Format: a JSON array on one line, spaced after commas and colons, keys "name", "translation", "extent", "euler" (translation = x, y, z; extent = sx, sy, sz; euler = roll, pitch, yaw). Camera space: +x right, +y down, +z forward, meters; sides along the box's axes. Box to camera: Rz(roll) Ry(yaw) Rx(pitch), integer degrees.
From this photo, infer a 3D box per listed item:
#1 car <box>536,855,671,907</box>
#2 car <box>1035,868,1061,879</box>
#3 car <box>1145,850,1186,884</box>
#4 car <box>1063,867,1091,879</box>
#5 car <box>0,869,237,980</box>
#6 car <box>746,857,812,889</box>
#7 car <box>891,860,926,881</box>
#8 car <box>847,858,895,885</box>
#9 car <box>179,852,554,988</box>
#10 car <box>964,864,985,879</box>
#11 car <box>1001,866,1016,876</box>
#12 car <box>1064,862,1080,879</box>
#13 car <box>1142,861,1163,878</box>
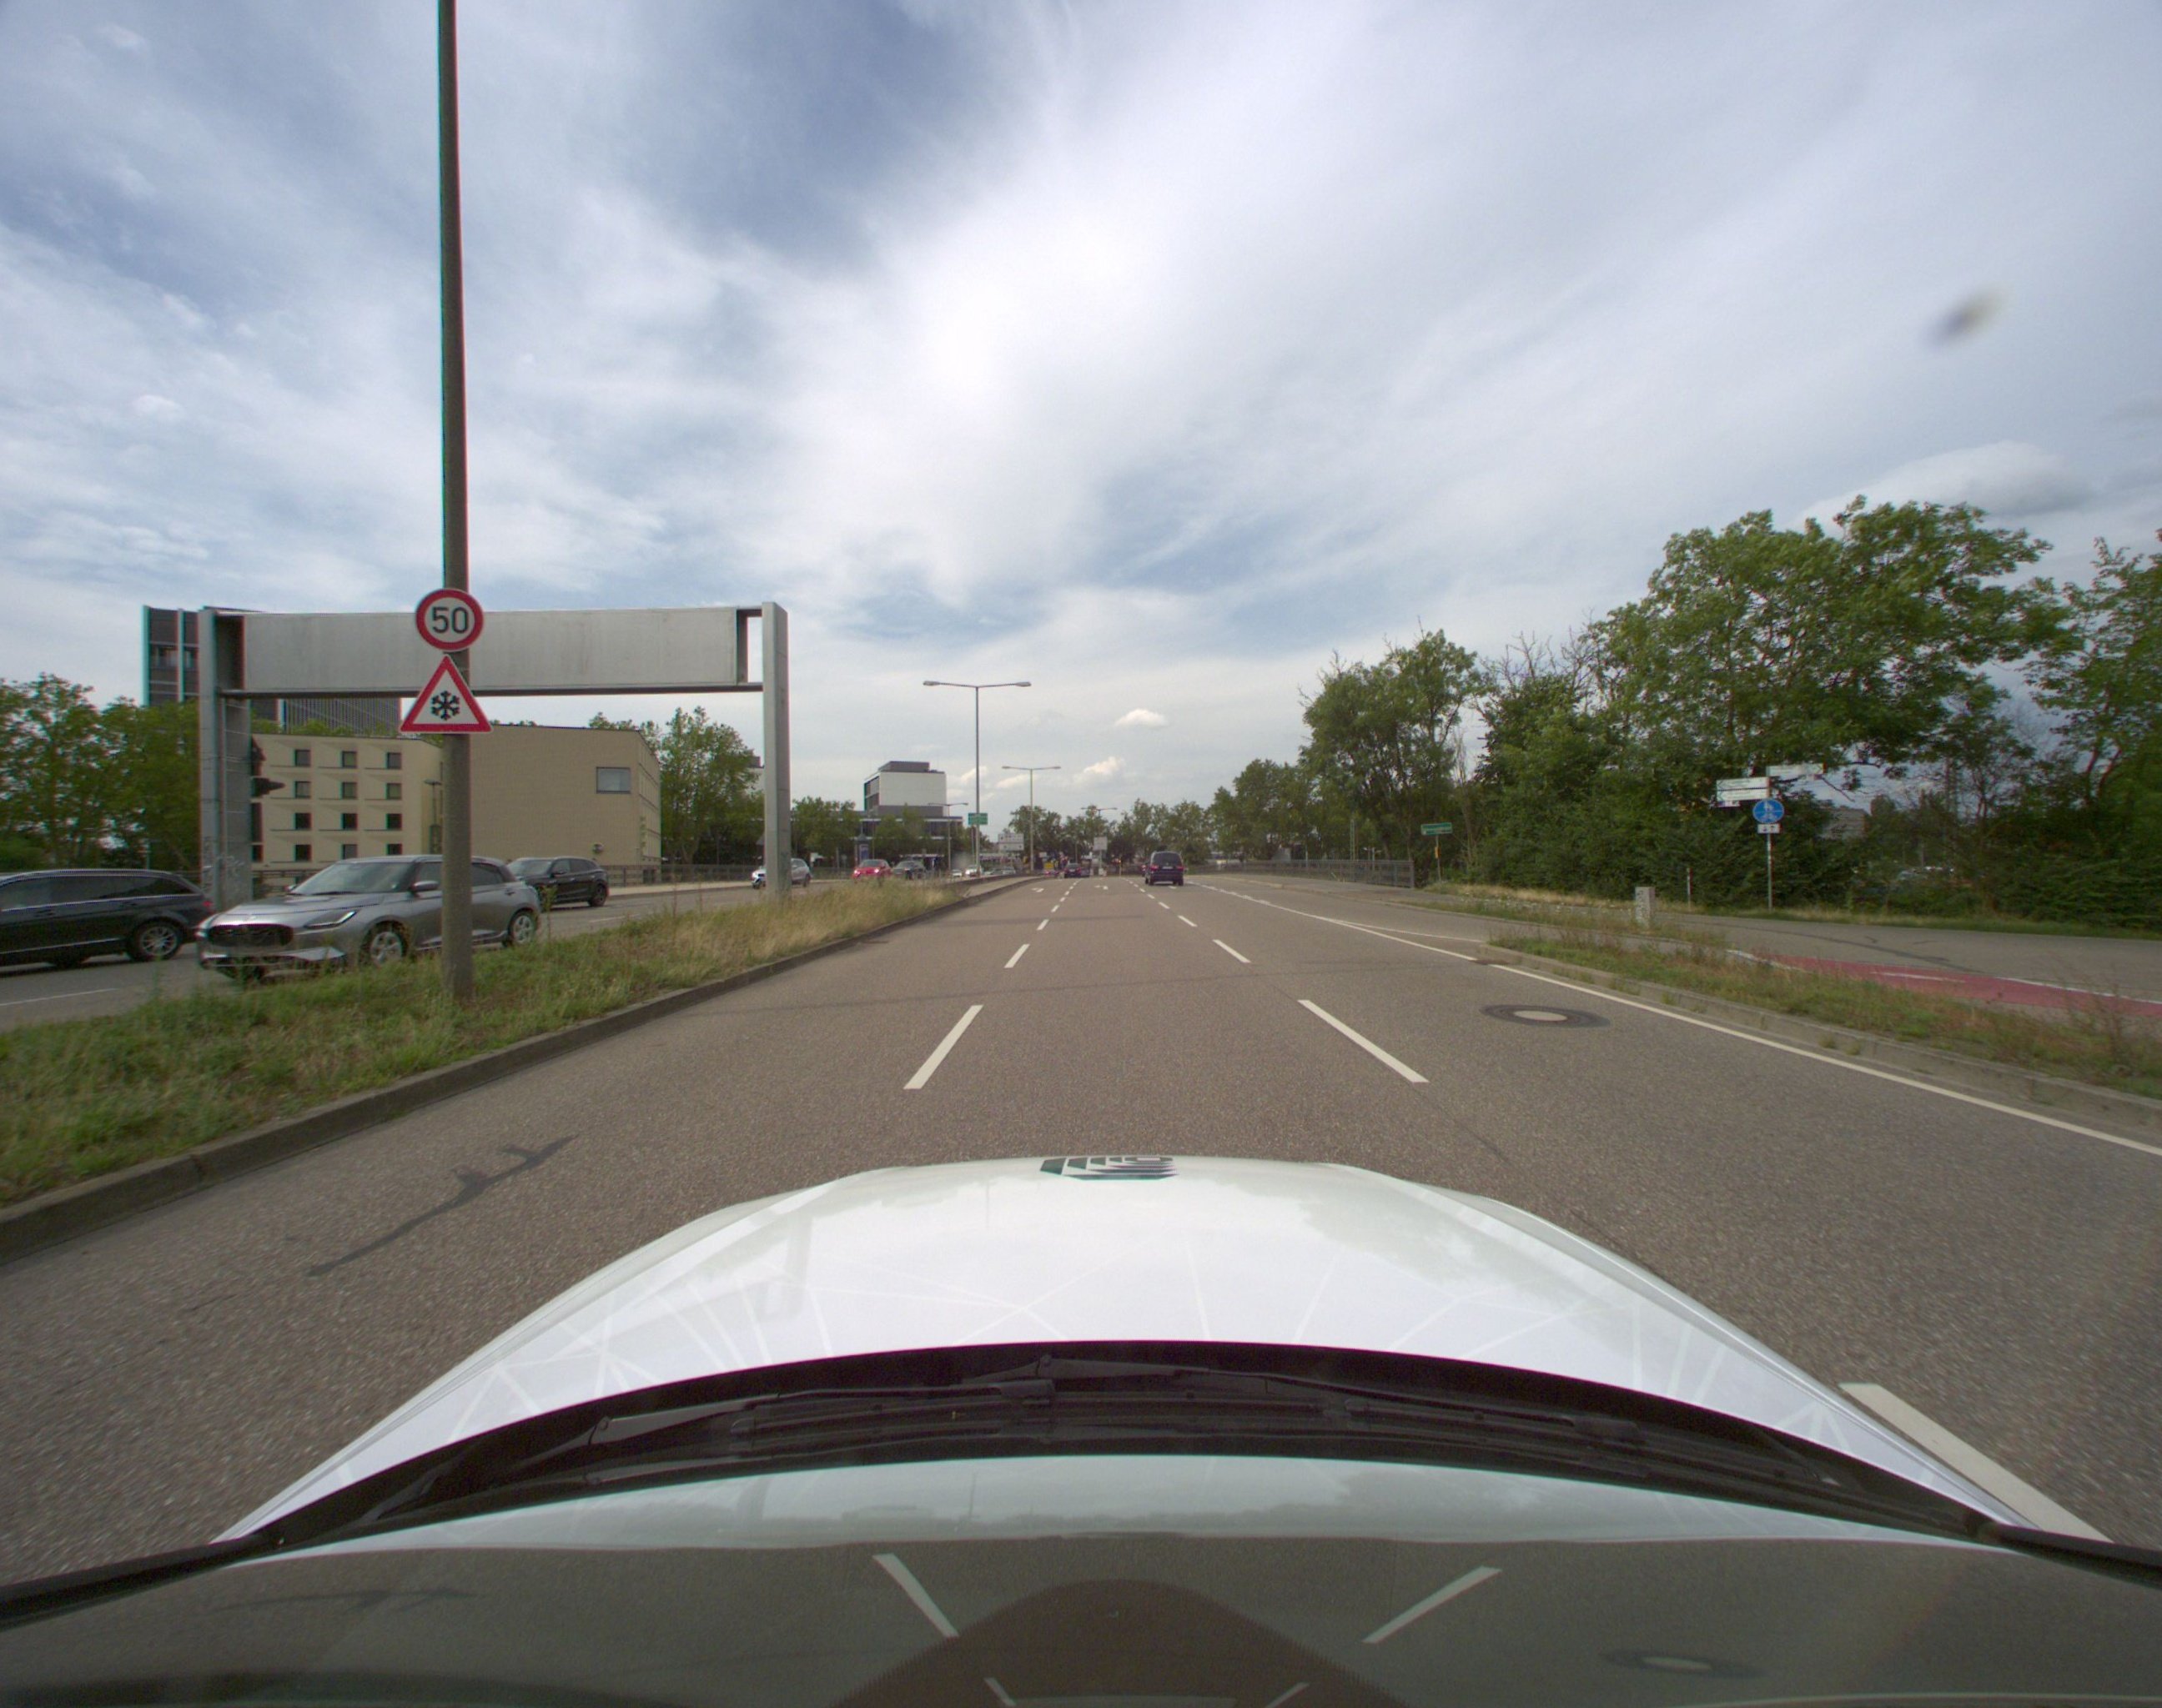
[{"name": "car", "translation": [-16.035, 0.853, 27.659], "extent": [1.787, 1.525, 4.594], "euler": [-2, 0, 0]}, {"name": "car", "translation": [-4.736, 2.764, 115.891], "extent": [3.588, 1.418, 1.746], "euler": [1, 1, 44]}, {"name": "car", "translation": [4.368, 0.644, 42.642], "extent": [1.725, 1.653, 4.114], "euler": [0, 1, 0]}, {"name": "car", "translation": [-0.628, 2.569, 113.319], "extent": [1.745, 1.526, 4.068], "euler": [0, 1, -39]}, {"name": "car", "translation": [-15.235, 1.002, 11.448], "extent": [1.657, 1.425, 4.528], "euler": [-3, 0, 7]}, {"name": "car", "translation": [-15.650, 0.940, 42.451], "extent": [1.787, 1.525, 4.188], "euler": [-2, 0, 0]}, {"name": "car", "translation": [-14.194, 1.327, 67.168], "extent": [1.915, 1.525, 4.188], "euler": [-2, 0, 0]}, {"name": "car", "translation": [-12.423, 1.011, 48.421], "extent": [1.787, 1.441, 3.798], "euler": [-2, 0, 0]}, {"name": "car", "translation": [-9.210, 0.727, 11.010], "extent": [1.689, 1.486, 3.859], "euler": [0, 0, -1]}, {"name": "car", "translation": [-11.161, 1.804, 85.557], "extent": [1.731, 1.482, 4.081], "euler": [-2, 0, -2]}, {"name": "car", "translation": [-8.920, 2.058, 99.459], "extent": [1.502, 1.214, 4.070], "euler": [-2, 0, -9]}, {"name": "car", "translation": [-0.933, 1.777, 86.268], "extent": [1.725, 1.653, 4.114], "euler": [0, 1, 0]}, {"name": "car", "translation": [7.302, 1.584, 83.488], "extent": [1.725, 1.653, 4.114], "euler": [0, 1, 0]}]
